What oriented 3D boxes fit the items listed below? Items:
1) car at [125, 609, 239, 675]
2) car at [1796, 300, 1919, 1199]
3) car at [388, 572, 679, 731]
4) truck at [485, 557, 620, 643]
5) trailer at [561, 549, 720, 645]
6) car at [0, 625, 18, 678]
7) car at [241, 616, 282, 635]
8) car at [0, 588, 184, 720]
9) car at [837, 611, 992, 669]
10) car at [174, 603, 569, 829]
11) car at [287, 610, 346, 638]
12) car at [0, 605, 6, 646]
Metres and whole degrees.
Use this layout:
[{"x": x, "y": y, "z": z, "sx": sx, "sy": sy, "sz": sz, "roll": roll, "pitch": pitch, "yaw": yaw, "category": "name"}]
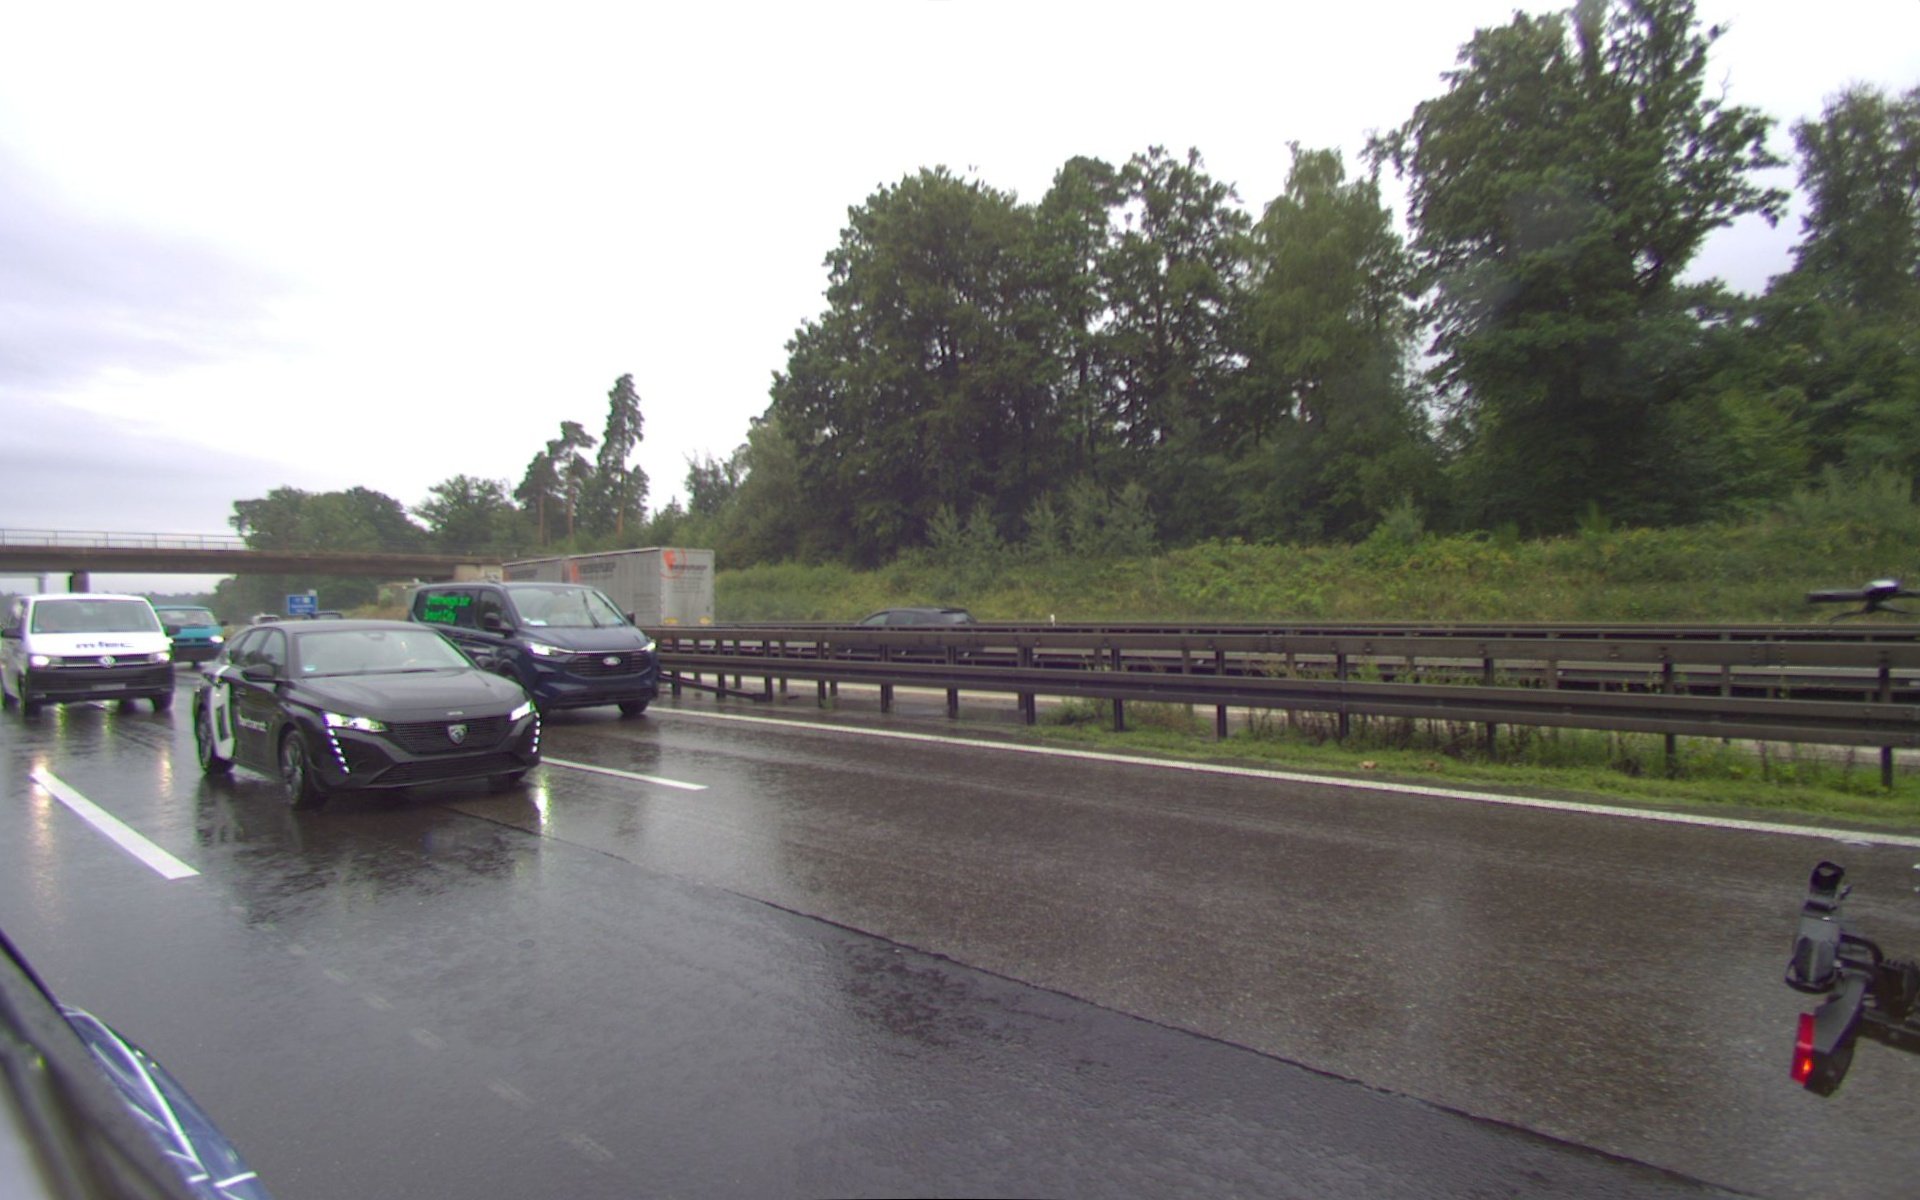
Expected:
[{"x": -24.194, "y": 1.252, "z": 31.409, "sx": 4.756, "sy": 1.877, "sz": 1.891, "roll": -1, "pitch": 0, "yaw": 41, "category": "car"}, {"x": 4.073, "y": 0.404, "z": 0.865, "sx": 5.016, "sy": 1.926, "sz": 2.244, "roll": -2, "pitch": -1, "yaw": 44, "category": "car"}, {"x": -6.439, "y": 0.676, "z": 14.937, "sx": 5.242, "sy": 1.959, "sz": 1.970, "roll": -1, "pitch": -1, "yaw": 43, "category": "car"}, {"x": -20.751, "y": 0.101, "z": 51.090, "sx": 2.673, "sy": 3.961, "sz": 10.033, "roll": 0, "pitch": -1, "yaw": -44, "category": "truck"}, {"x": -14.236, "y": -0.043, "z": 44.599, "sx": 9.008, "sy": 3.847, "sz": 2.653, "roll": -2, "pitch": -1, "yaw": 44, "category": "trailer"}, {"x": -29.532, "y": 1.516, "z": 30.159, "sx": 4.466, "sy": 1.516, "sz": 1.825, "roll": -1, "pitch": -1, "yaw": 43, "category": "car"}, {"x": -57.568, "y": 2.076, "z": 83.349, "sx": 4.330, "sy": 1.509, "sz": 1.817, "roll": -2, "pitch": -1, "yaw": 41, "category": "car"}, {"x": -14.649, "y": 0.820, "z": 16.854, "sx": 4.767, "sy": 1.894, "sz": 1.968, "roll": -2, "pitch": -1, "yaw": 43, "category": "car"}, {"x": -1.181, "y": 0.968, "z": 25.380, "sx": 3.754, "sy": 1.314, "sz": 1.684, "roll": -2, "pitch": -1, "yaw": 41, "category": "car"}, {"x": -5.408, "y": 0.830, "z": 9.014, "sx": 4.466, "sy": 1.516, "sz": 1.825, "roll": -2, "pitch": -1, "yaw": 43, "category": "car"}, {"x": -37.759, "y": 1.411, "z": 59.327, "sx": 4.331, "sy": 1.509, "sz": 1.816, "roll": -2, "pitch": -1, "yaw": 42, "category": "car"}, {"x": -39.100, "y": 1.036, "z": 39.796, "sx": 4.766, "sy": 1.572, "sz": 1.968, "roll": -2, "pitch": -1, "yaw": 43, "category": "car"}]
